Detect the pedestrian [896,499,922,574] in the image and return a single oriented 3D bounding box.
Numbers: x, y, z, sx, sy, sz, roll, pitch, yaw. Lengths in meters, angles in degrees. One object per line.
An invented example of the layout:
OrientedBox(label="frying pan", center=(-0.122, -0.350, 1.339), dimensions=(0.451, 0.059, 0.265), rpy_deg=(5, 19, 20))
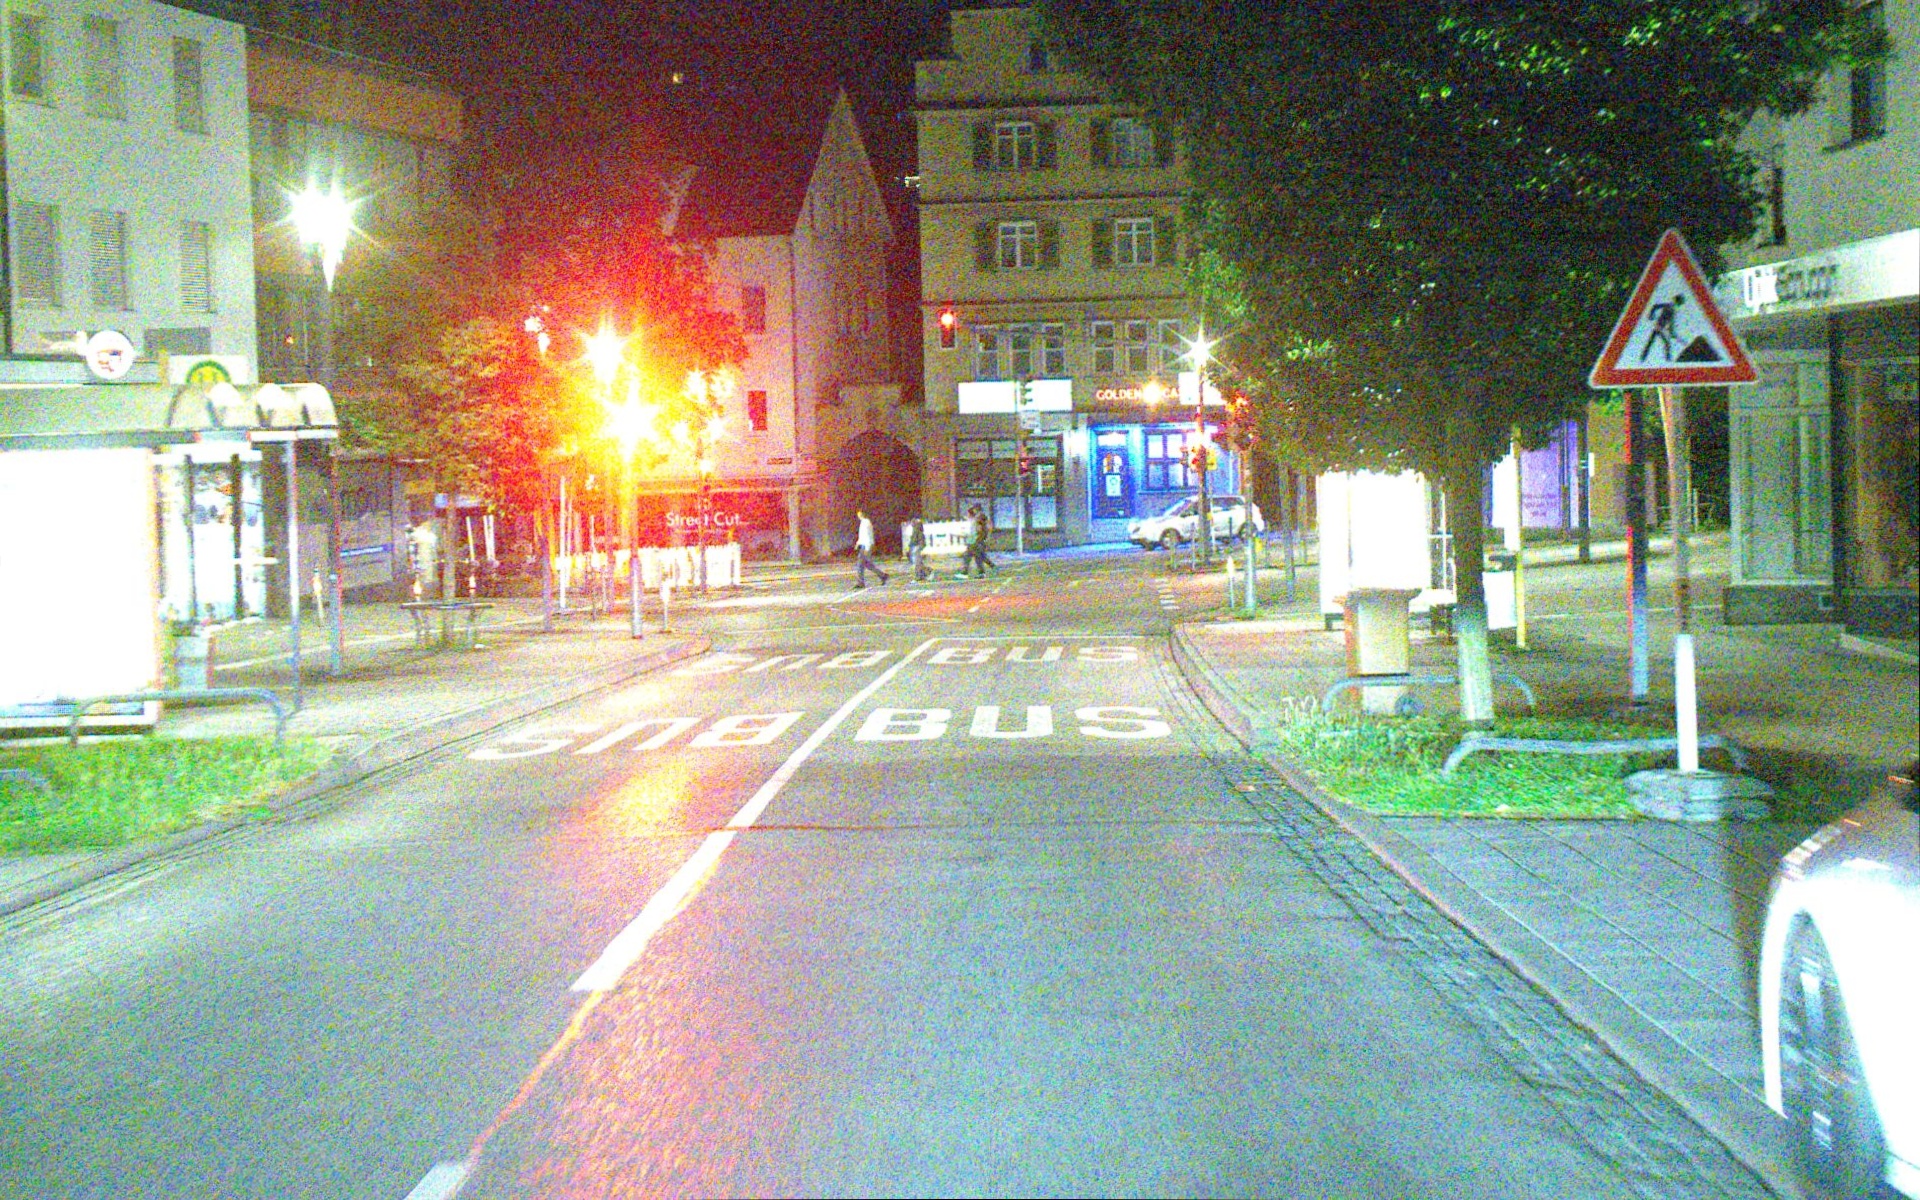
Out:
OrientedBox(label="pedestrian", center=(-1.231, -1.529, 82.990), dimensions=(0.567, 1.789, 0.718), rpy_deg=(-1, 0, -3))

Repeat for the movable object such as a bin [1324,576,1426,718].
OrientedBox(label="movable object such as a bin", center=(2.785, 0.312, 23.091), dimensions=(0.524, 0.934, 0.629), rpy_deg=(-1, 0, -9))

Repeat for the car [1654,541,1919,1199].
OrientedBox(label="car", center=(2.625, 0.607, 5.705), dimensions=(1.857, 1.437, 4.595), rpy_deg=(-3, 1, -1))

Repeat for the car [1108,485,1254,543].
OrientedBox(label="car", center=(6.340, -2.473, 98.860), dimensions=(3.751, 1.612, 1.835), rpy_deg=(-1, 0, -18))

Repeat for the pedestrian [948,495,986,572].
OrientedBox(label="pedestrian", center=(0.160, -1.553, 80.673), dimensions=(0.568, 1.789, 0.718), rpy_deg=(-1, 0, -37))

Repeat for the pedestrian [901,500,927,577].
OrientedBox(label="pedestrian", center=(-1.084, -1.439, 80.830), dimensions=(0.567, 1.789, 0.718), rpy_deg=(-1, 0, -3))

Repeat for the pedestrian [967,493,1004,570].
OrientedBox(label="pedestrian", center=(0.594, -1.591, 80.010), dimensions=(0.735, 1.789, 0.718), rpy_deg=(-1, 0, 10))

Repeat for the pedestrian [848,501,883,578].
OrientedBox(label="pedestrian", center=(-2.197, -1.403, 79.844), dimensions=(0.716, 1.789, 0.569), rpy_deg=(-1, 0, 6))
